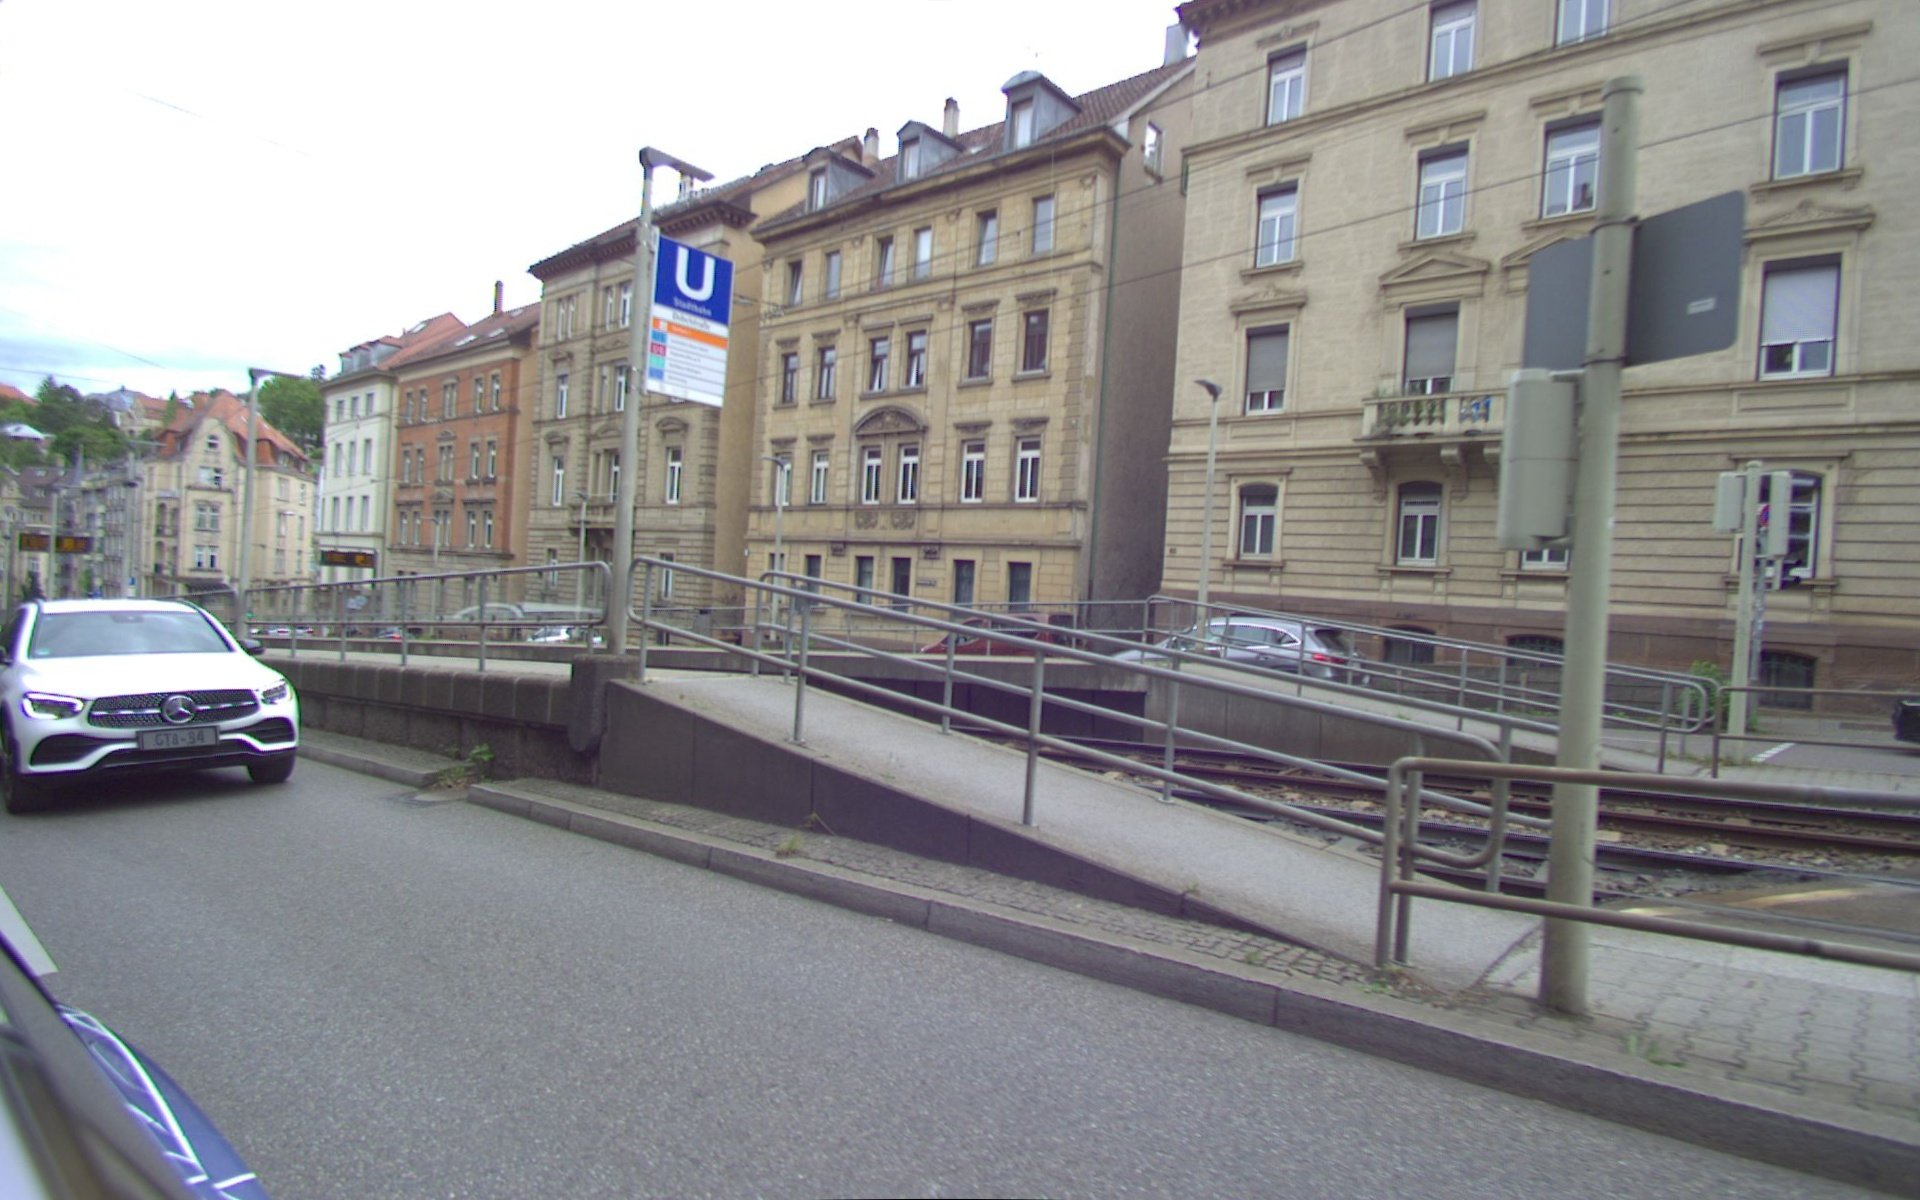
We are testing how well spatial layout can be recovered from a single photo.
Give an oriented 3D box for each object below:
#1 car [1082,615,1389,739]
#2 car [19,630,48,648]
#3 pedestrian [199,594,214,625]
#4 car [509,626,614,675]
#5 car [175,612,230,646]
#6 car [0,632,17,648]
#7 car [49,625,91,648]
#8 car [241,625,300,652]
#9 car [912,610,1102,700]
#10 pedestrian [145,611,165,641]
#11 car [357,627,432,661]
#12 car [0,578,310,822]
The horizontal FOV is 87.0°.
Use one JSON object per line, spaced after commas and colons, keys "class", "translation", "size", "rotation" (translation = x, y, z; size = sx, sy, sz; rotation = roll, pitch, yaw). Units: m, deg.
{"class": "car", "translation": [4.355, 1.160, 16.502], "size": [4.575, 1.749, 1.691], "rotation": [-1, -3, 42]}
{"class": "car", "translation": [-91.659, 3.866, 100.073], "size": [3.864, 1.778, 1.803], "rotation": [-2, -3, 43]}
{"class": "pedestrian", "translation": [-38.372, 0.474, 51.555], "size": [0.540, 1.574, 0.457], "rotation": [-2, -3, 40]}
{"class": "car", "translation": [-14.588, 1.840, 36.956], "size": [3.998, 1.692, 1.915], "rotation": [-2, -4, 41]}
{"class": "car", "translation": [-53.241, 2.046, 71.092], "size": [5.452, 2.322, 1.973], "rotation": [-2, -3, 41]}
{"class": "car", "translation": [-107.374, 4.493, 113.661], "size": [3.864, 1.778, 1.803], "rotation": [-2, -3, 43]}
{"class": "car", "translation": [-75.271, 3.061, 85.532], "size": [4.411, 1.909, 1.973], "rotation": [-1, -3, 40]}
{"class": "car", "translation": [-40.060, 2.197, 58.767], "size": [4.257, 1.482, 1.750], "rotation": [-2, -1, 40]}
{"class": "car", "translation": [1.021, 1.222, 23.313], "size": [4.136, 1.874, 1.829], "rotation": [-1, -3, 41]}
{"class": "pedestrian", "translation": [-46.901, 1.518, 58.949], "size": [0.843, 1.701, 0.757], "rotation": [-2, -3, 41]}
{"class": "car", "translation": [-26.883, 2.076, 48.101], "size": [3.998, 1.540, 1.858], "rotation": [-2, -4, 41]}
{"class": "car", "translation": [-7.732, 0.717, 9.205], "size": [4.667, 1.679, 1.817], "rotation": [-1, -1, 41]}
